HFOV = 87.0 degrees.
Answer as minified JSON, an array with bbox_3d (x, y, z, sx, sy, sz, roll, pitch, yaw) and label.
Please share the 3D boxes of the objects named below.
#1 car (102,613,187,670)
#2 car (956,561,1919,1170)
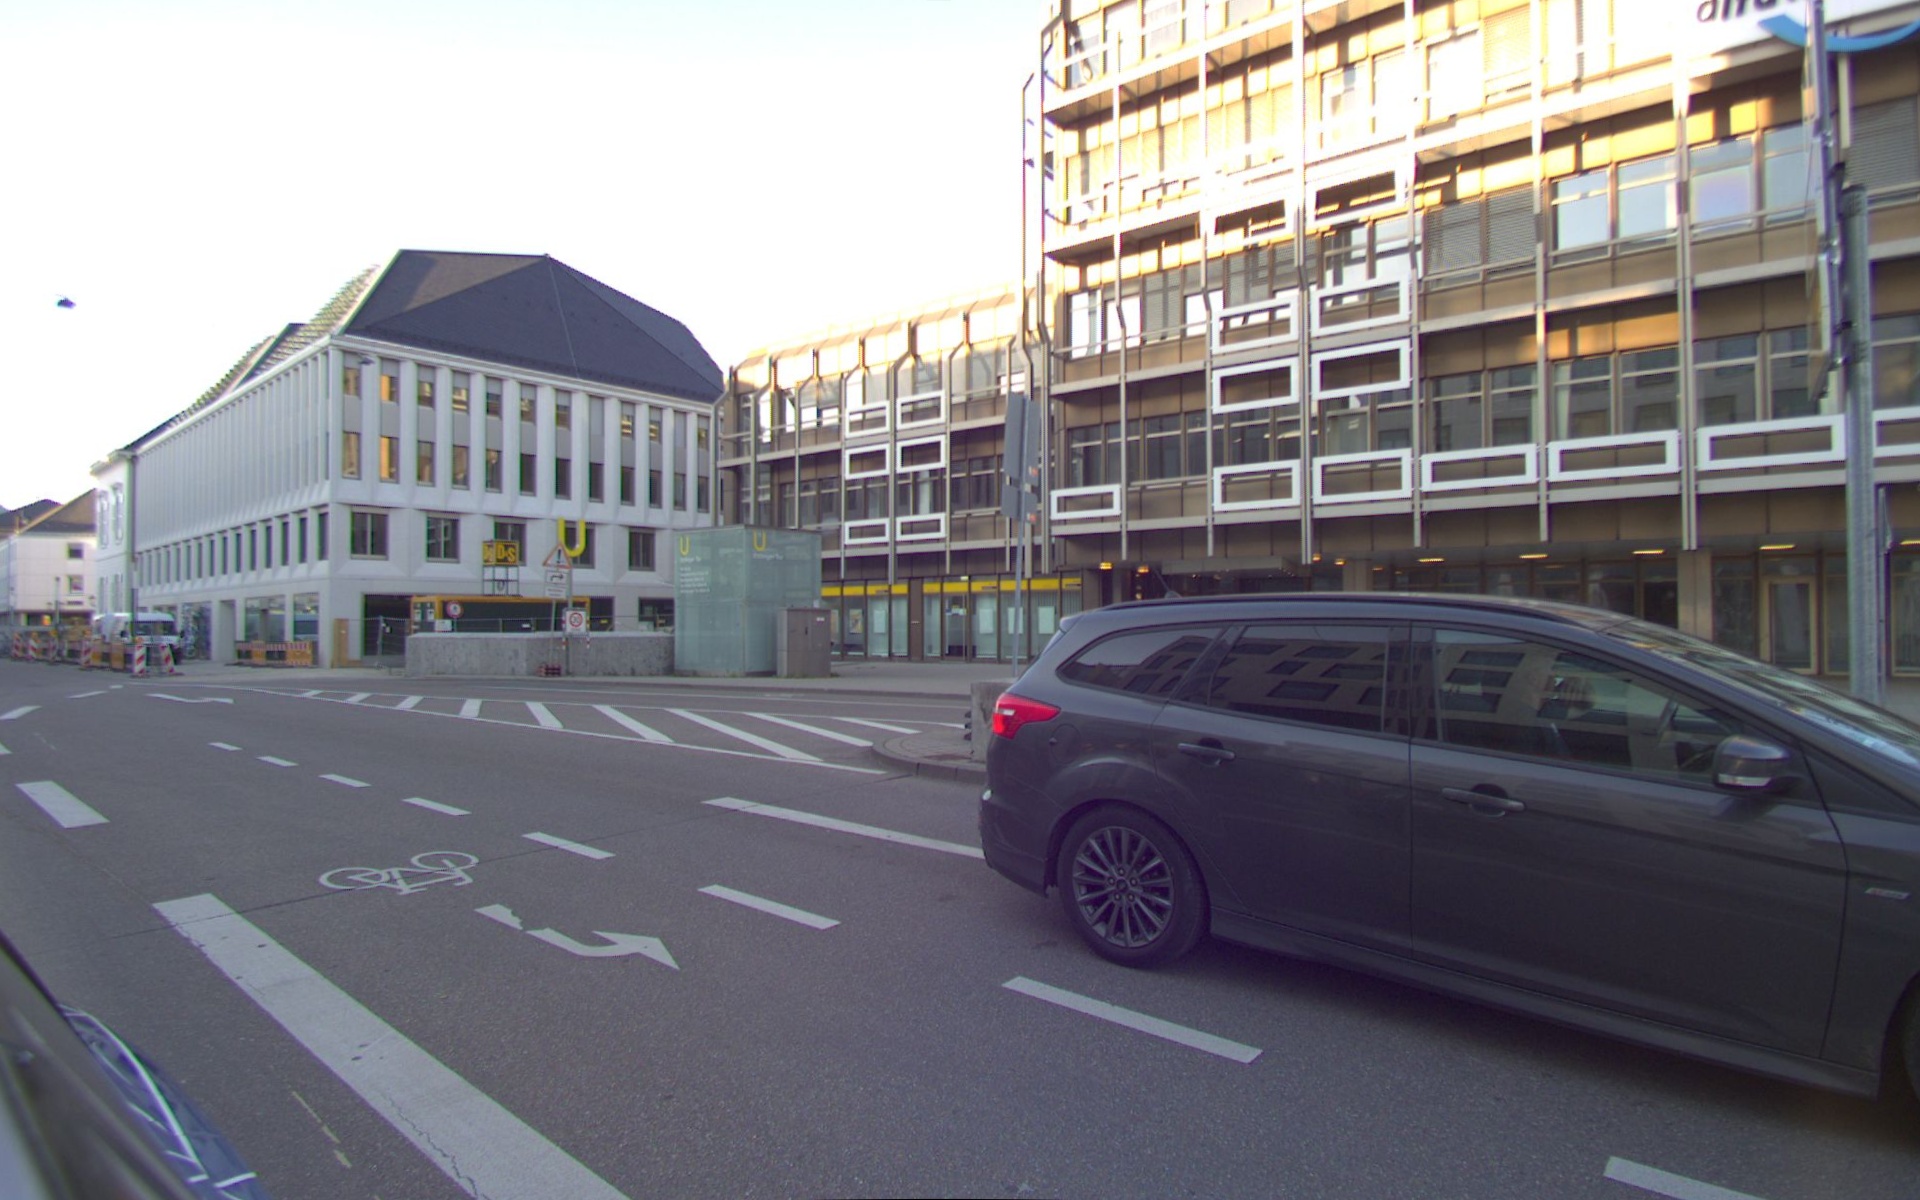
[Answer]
[{"bbox_3d":[-38.840,1.953,48.160,6.047,2.575,2.114,-2,-3,41],"label":"car"},{"bbox_3d":[2.216,0.657,3.681,4.377,1.473,1.740,-2,-1,40],"label":"car"}]
